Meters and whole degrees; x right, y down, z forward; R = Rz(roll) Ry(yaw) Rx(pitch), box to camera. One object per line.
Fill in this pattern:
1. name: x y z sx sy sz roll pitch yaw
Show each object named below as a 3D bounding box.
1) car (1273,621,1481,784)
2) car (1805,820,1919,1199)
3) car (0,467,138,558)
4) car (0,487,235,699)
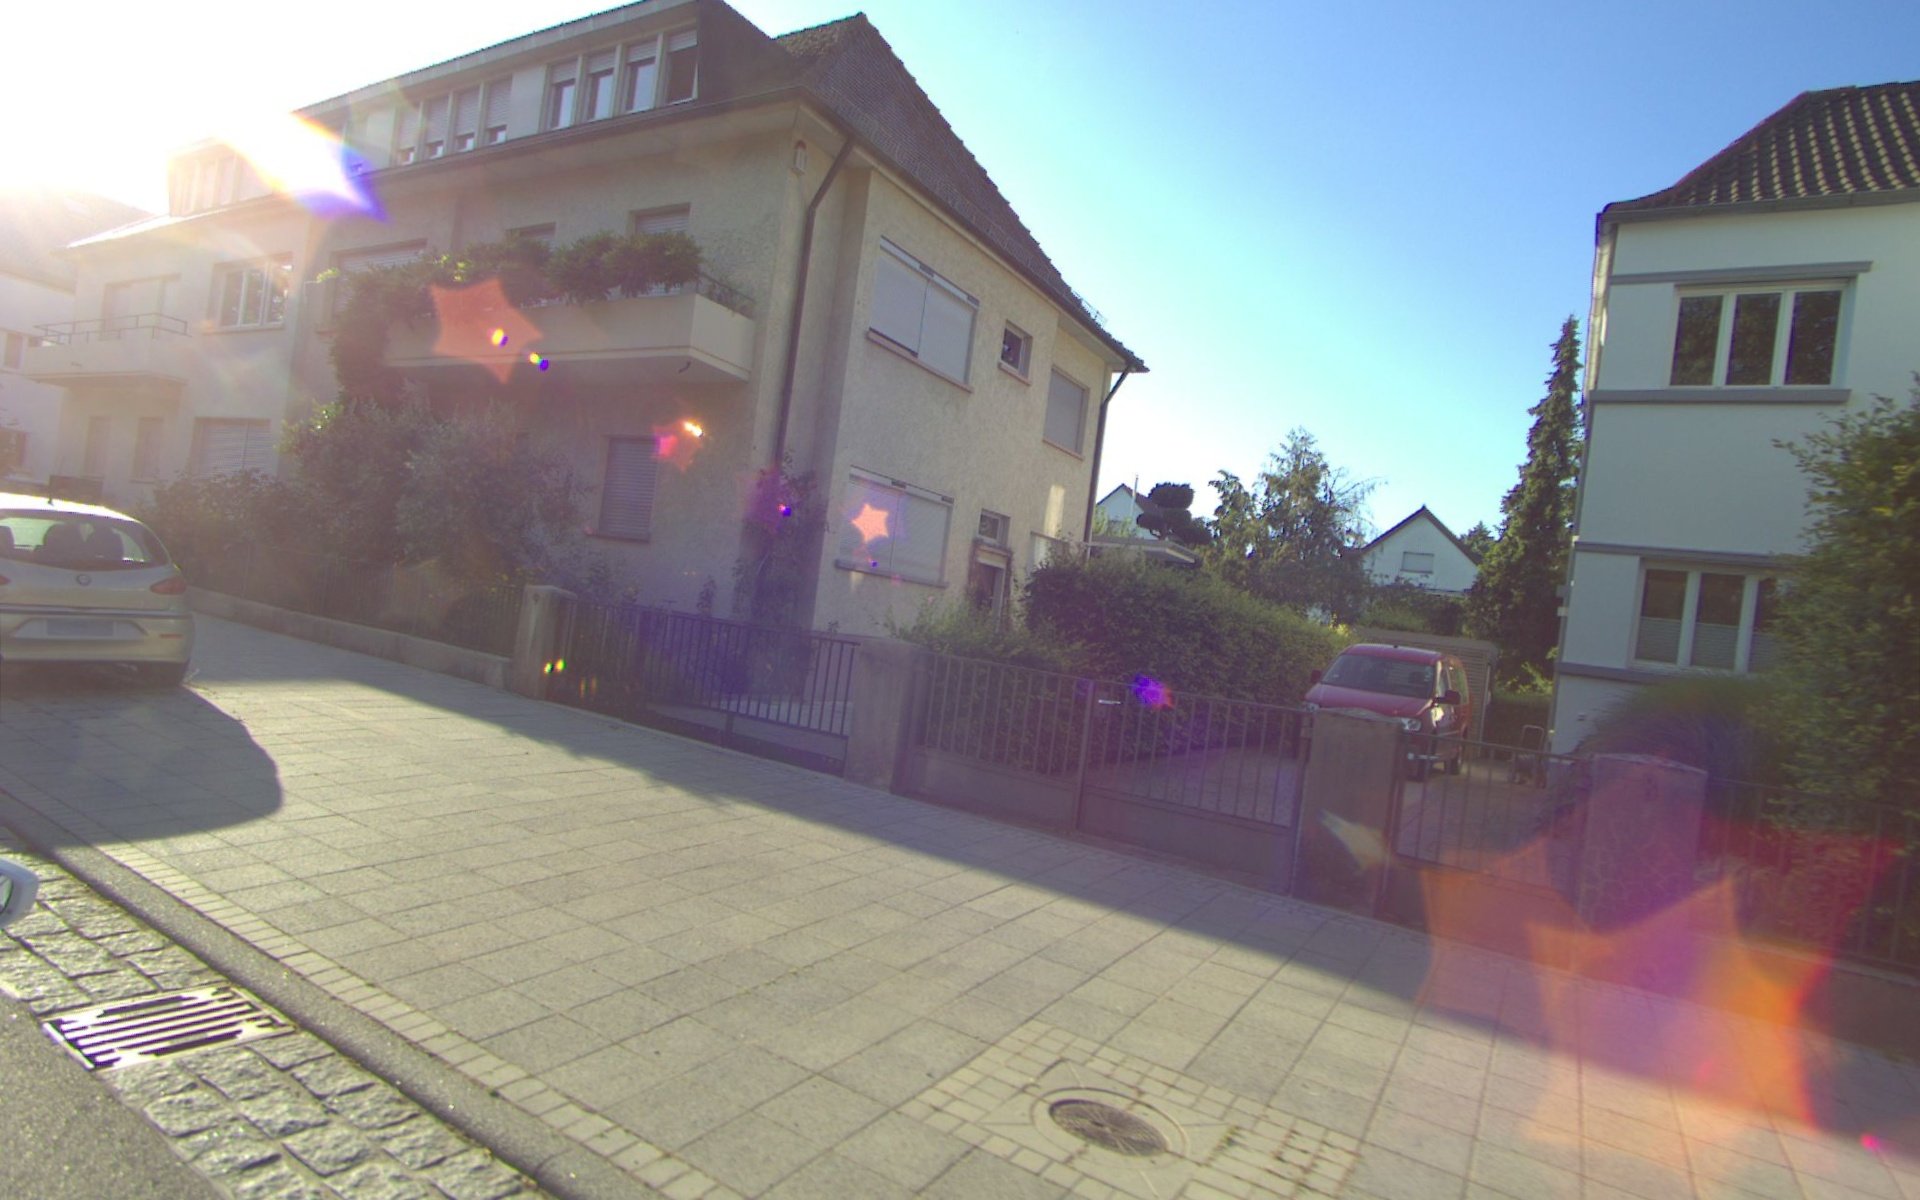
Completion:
1. car: 6.088 1.501 14.427 1.754 1.836 3.844 6 -3 36
2. car: 3.488 1.330 0.964 3.816 1.272 1.701 6 -1 32
3. car: -24.433 -2.410 26.304 1.783 1.865 3.997 9 -2 26
4. car: -7.913 -0.215 8.204 4.010 1.398 1.795 7 1 32
